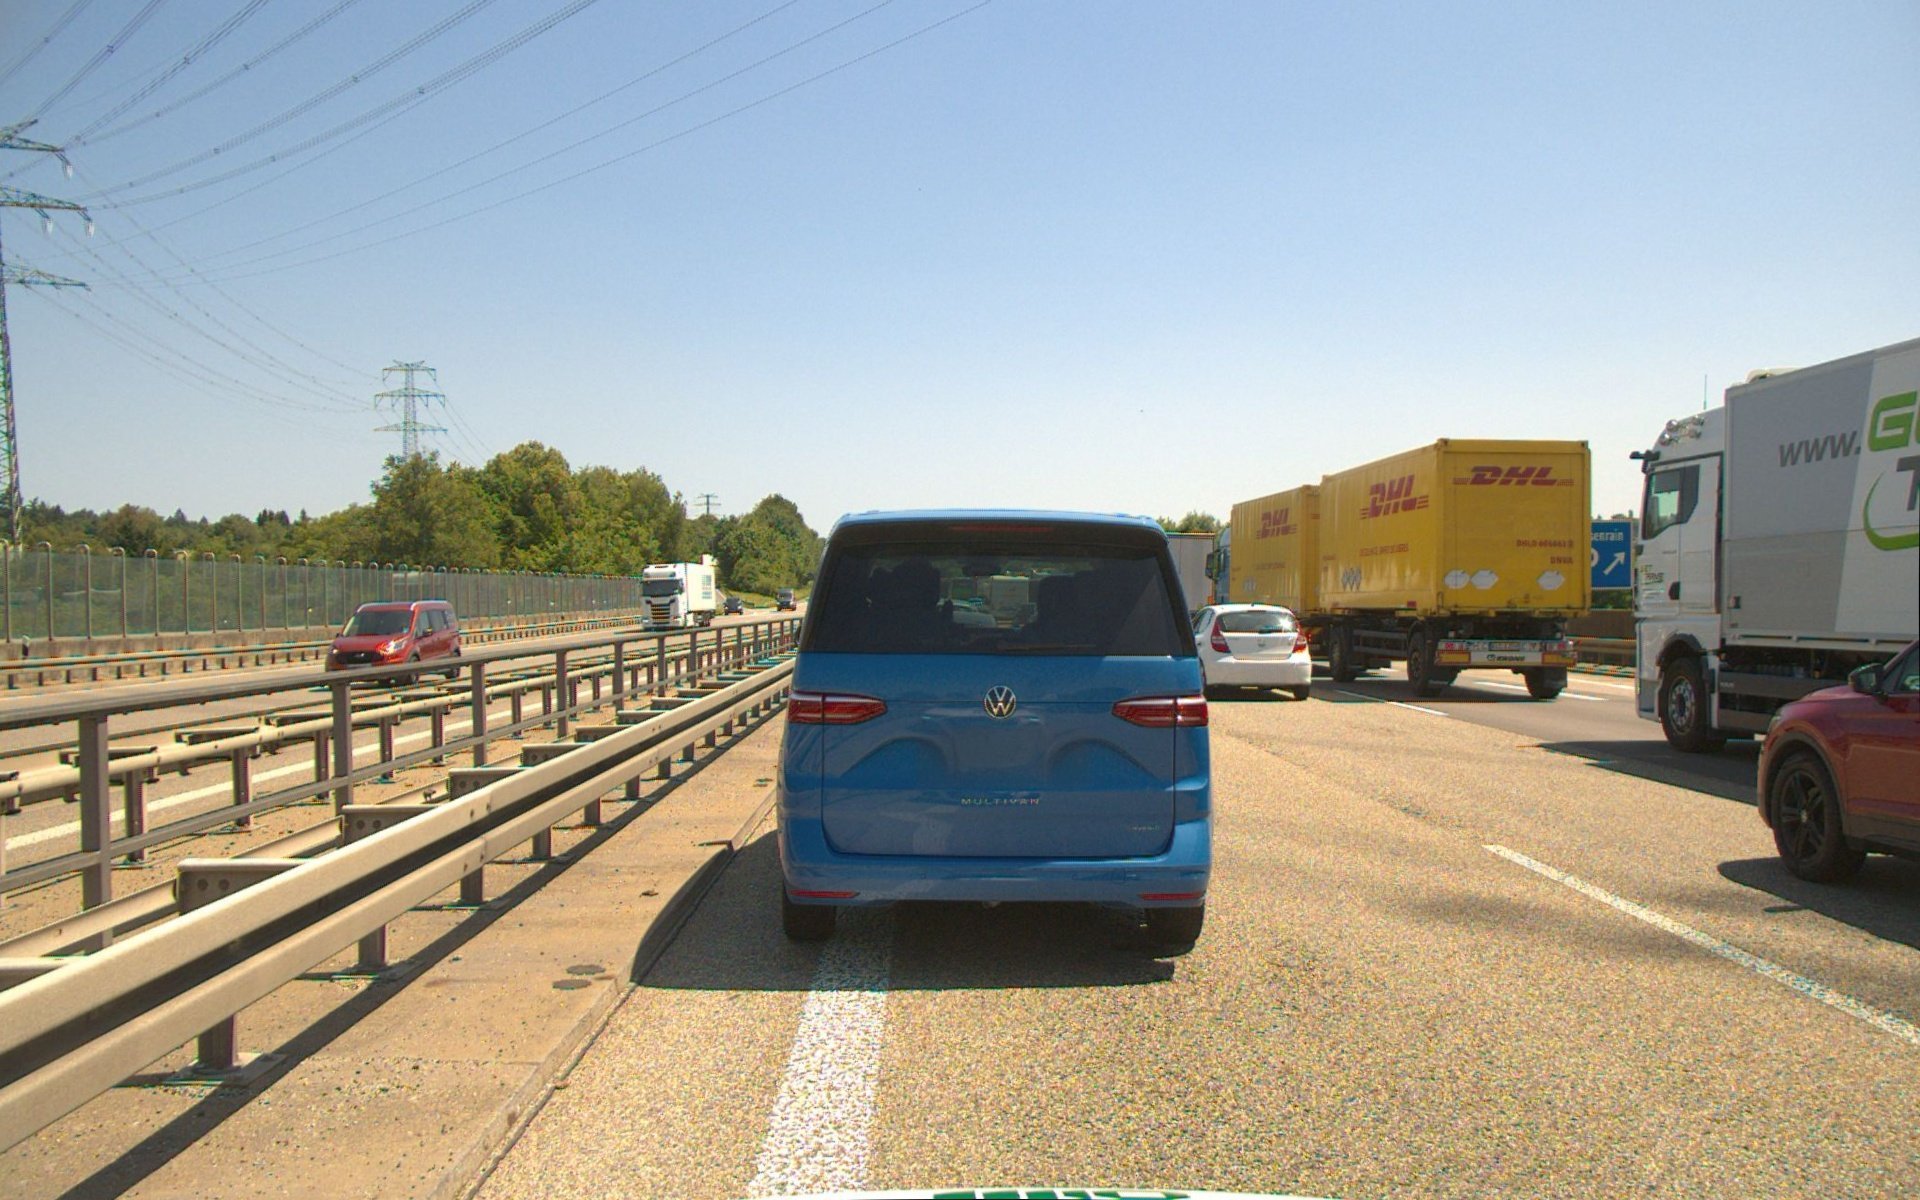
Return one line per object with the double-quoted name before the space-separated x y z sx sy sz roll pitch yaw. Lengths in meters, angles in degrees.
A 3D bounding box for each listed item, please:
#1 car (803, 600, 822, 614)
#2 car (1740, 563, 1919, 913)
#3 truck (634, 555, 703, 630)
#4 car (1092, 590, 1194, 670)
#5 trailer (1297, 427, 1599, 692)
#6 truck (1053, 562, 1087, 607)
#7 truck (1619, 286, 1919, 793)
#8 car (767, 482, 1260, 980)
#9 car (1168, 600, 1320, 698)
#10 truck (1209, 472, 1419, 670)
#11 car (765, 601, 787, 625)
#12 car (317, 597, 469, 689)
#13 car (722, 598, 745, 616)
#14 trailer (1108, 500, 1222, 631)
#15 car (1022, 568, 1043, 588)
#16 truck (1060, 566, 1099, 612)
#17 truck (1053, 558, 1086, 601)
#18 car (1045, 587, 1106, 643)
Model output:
"car" -16.608 0.742 186.262 1.736 1.517 4.604 -1 0 0
"car" 5.537 0.682 7.766 1.674 1.708 4.284 1 -1 -1
"truck" -17.894 -0.415 101.883 2.869 4.368 6.857 -3 -1 0
"car" 4.146 0.670 38.003 1.778 1.708 3.931 1 -1 -1
"trailer" 8.651 -0.602 30.704 2.629 4.159 8.976 1 -1 -2
"truck" 6.689 -0.916 100.897 1.706 2.593 4.209 1 -1 -1
"truck" 8.959 -0.457 13.400 2.794 4.003 10.606 1 -1 -1
"car" 0.184 0.530 8.427 1.891 1.906 3.999 1 -1 -1
"car" 4.648 0.774 27.545 1.778 1.496 3.931 1 -1 -1
"truck" 8.276 -0.573 40.144 2.645 4.159 9.935 1 -1 -2
"car" -21.708 1.530 194.868 1.953 2.627 6.647 -2 0 -2
"car" -12.321 0.911 36.273 1.802 1.854 4.746 -1 -1 -2
"car" -24.694 0.764 180.287 1.918 1.939 4.948 -2 0 -2
"trailer" 7.894 -1.203 65.131 2.964 4.692 10.923 1 -1 0
"car" 6.897 -2.071 157.621 1.760 1.782 3.942 1 -1 -1
"truck" 6.634 -0.572 91.855 1.761 2.492 4.503 1 -1 -1
"truck" 7.027 -1.282 106.123 1.760 2.641 4.304 1 -1 -1
"car" 4.255 0.561 61.416 1.922 1.970 3.931 1 -1 -1
